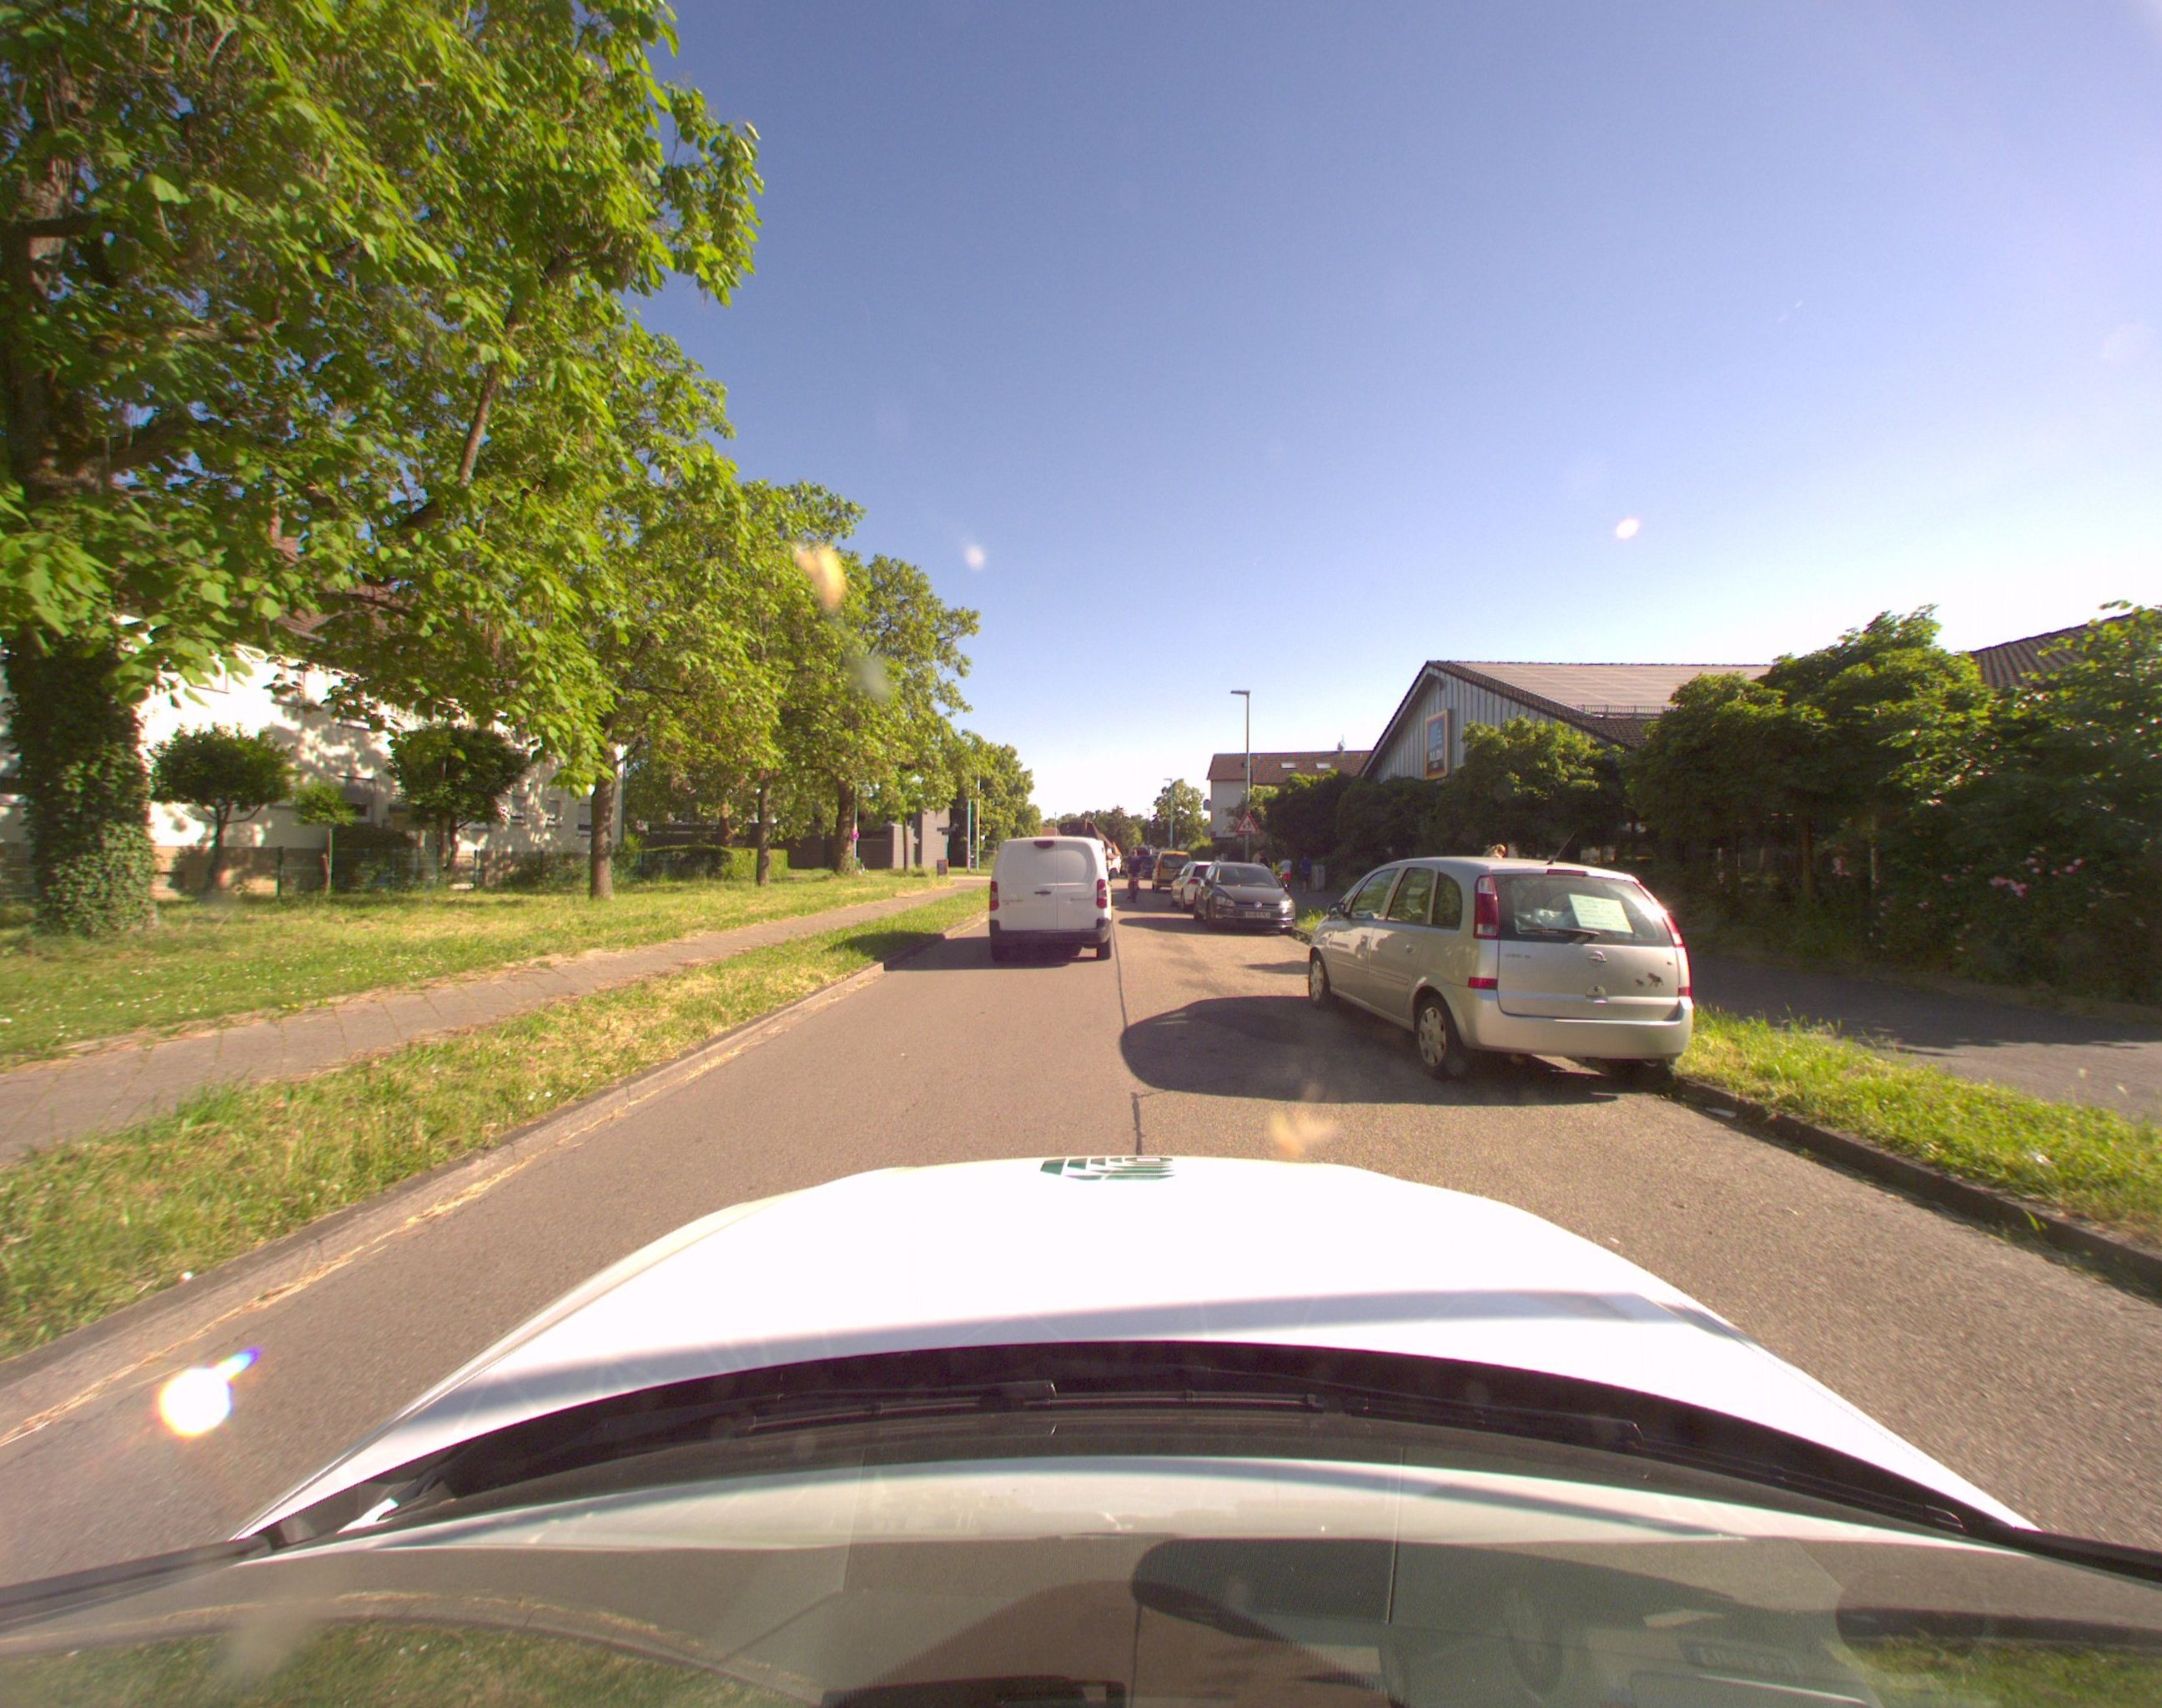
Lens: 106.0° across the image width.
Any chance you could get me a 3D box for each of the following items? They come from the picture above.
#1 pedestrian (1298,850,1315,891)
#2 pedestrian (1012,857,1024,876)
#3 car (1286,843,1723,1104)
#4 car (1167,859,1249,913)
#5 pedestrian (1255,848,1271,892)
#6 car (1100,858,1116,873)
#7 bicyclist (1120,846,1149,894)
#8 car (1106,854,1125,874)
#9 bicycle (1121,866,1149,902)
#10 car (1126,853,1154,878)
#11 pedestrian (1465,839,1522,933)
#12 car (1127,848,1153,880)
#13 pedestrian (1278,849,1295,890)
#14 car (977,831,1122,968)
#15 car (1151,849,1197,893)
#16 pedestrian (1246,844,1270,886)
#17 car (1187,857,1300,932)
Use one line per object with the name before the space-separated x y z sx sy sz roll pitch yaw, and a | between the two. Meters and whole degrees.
pedestrian | 9.091 0.642 32.833 0.564 1.637 0.547 0 0 6
pedestrian | -4.860 0.962 62.993 0.505 1.446 0.643 3 -1 34
car | 3.258 0.796 7.277 1.675 1.599 4.025 3 -1 -2
car | 3.694 0.884 24.322 1.820 1.452 3.999 1 -1 0
pedestrian | 6.924 0.600 30.987 0.564 1.637 0.547 0 0 6
car | 3.765 1.584 111.876 1.794 1.842 4.007 2 -1 7
bicyclist | 1.828 0.544 27.786 0.902 1.584 0.966 1 -1 0
car | 3.766 1.091 89.710 1.798 2.069 3.999 3 -1 0
bicycle | 1.816 0.994 27.672 0.784 1.138 2.280 0 0 0
car | 4.518 0.921 62.706 1.798 1.785 3.999 3 -1 0
pedestrian | 8.073 0.605 15.978 0.793 1.782 0.811 0 0 9
car | 4.992 0.895 69.552 1.860 2.562 4.766 3 -1 0
pedestrian | 8.319 0.635 32.992 0.564 1.637 0.547 0 0 6
car | -0.353 0.625 13.392 1.986 1.882 4.291 0 0 2
car | 4.077 0.730 36.082 1.717 1.837 4.002 1 -1 2
pedestrian | 7.854 0.492 36.143 0.792 1.861 0.872 1 -1 -6
car | 3.505 0.812 18.318 1.800 1.443 4.365 1 0 2
